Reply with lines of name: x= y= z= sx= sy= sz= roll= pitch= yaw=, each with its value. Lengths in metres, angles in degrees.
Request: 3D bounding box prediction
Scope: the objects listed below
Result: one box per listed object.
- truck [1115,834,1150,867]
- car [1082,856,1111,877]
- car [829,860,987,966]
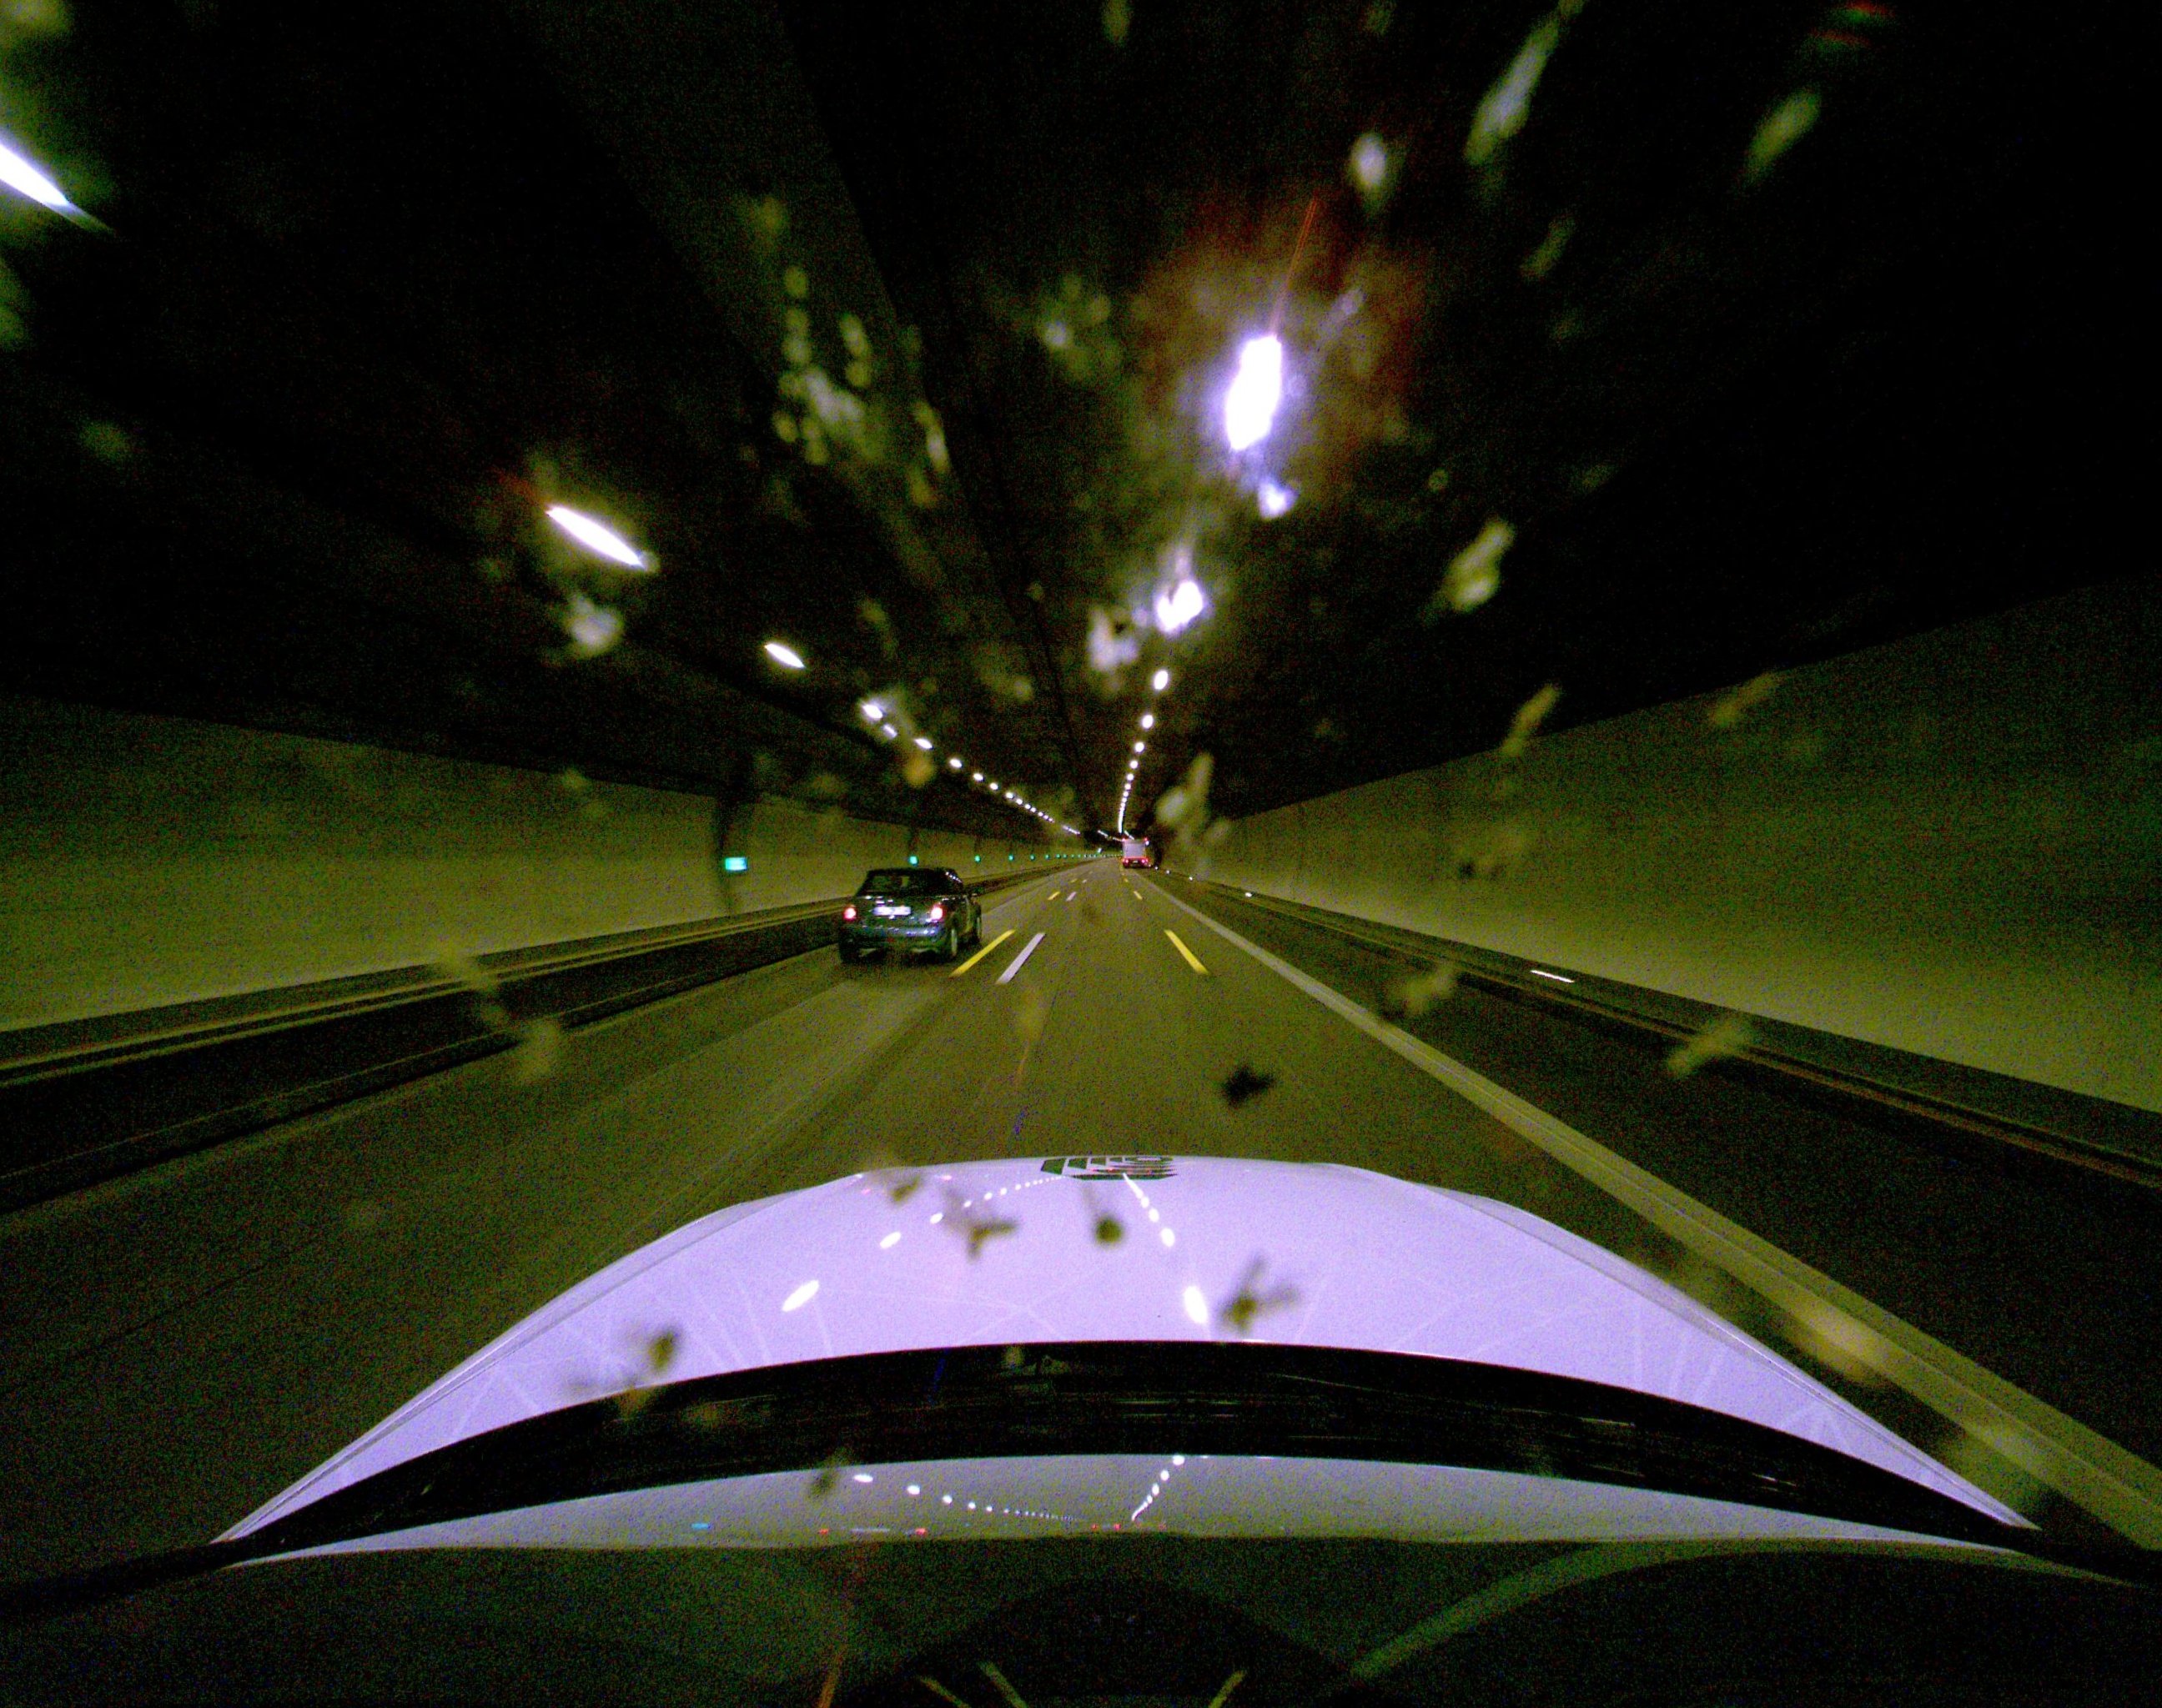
truck: x=6.034 y=-0.360 z=97.685 sx=3.580 sy=3.650 sz=10.722 roll=-1 pitch=0 yaw=0
car: x=1.073 y=0.875 z=58.073 sx=1.987 sy=1.413 sz=4.742 roll=-1 pitch=0 yaw=0
car: x=-2.663 y=0.844 z=13.408 sx=1.683 sy=1.417 sz=3.923 roll=-1 pitch=0 yaw=1
